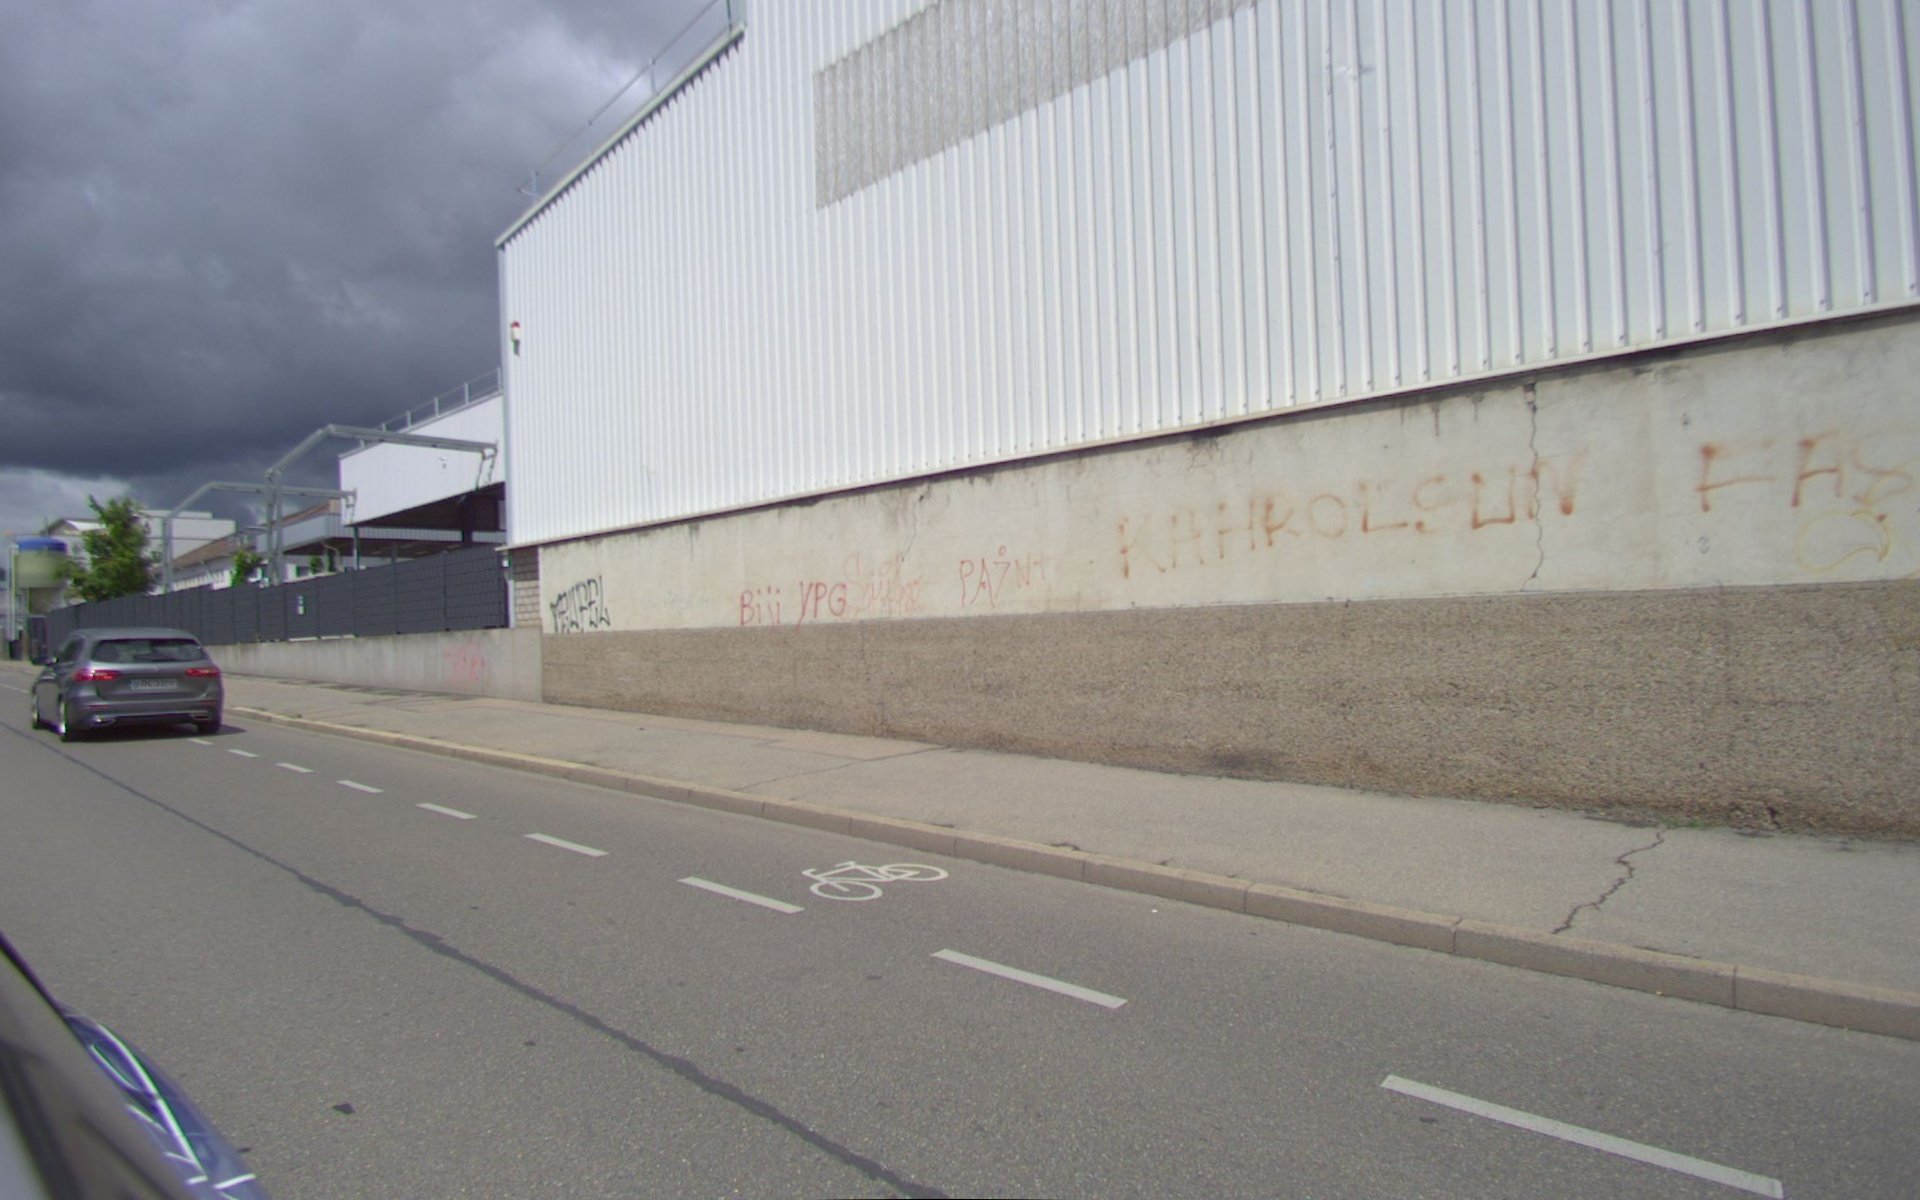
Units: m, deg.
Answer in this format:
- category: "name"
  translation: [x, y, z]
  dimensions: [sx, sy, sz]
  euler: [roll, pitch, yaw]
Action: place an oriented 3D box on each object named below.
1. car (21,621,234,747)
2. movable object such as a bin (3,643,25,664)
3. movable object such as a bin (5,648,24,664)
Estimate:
- category: "car"
  translation: [-12.437, 1.144, 15.023]
  dimensions: [4.286, 1.567, 1.701]
  euler: [0, -3, 41]
- category: "movable object such as a bin"
  translation: [-63.242, 3.556, 67.662]
  dimensions: [1.215, 1.404, 0.980]
  euler: [-3, -4, 43]
- category: "movable object such as a bin"
  translation: [-62.554, 3.697, 66.961]
  dimensions: [0.862, 1.058, 0.741]
  euler: [3, -4, -44]
